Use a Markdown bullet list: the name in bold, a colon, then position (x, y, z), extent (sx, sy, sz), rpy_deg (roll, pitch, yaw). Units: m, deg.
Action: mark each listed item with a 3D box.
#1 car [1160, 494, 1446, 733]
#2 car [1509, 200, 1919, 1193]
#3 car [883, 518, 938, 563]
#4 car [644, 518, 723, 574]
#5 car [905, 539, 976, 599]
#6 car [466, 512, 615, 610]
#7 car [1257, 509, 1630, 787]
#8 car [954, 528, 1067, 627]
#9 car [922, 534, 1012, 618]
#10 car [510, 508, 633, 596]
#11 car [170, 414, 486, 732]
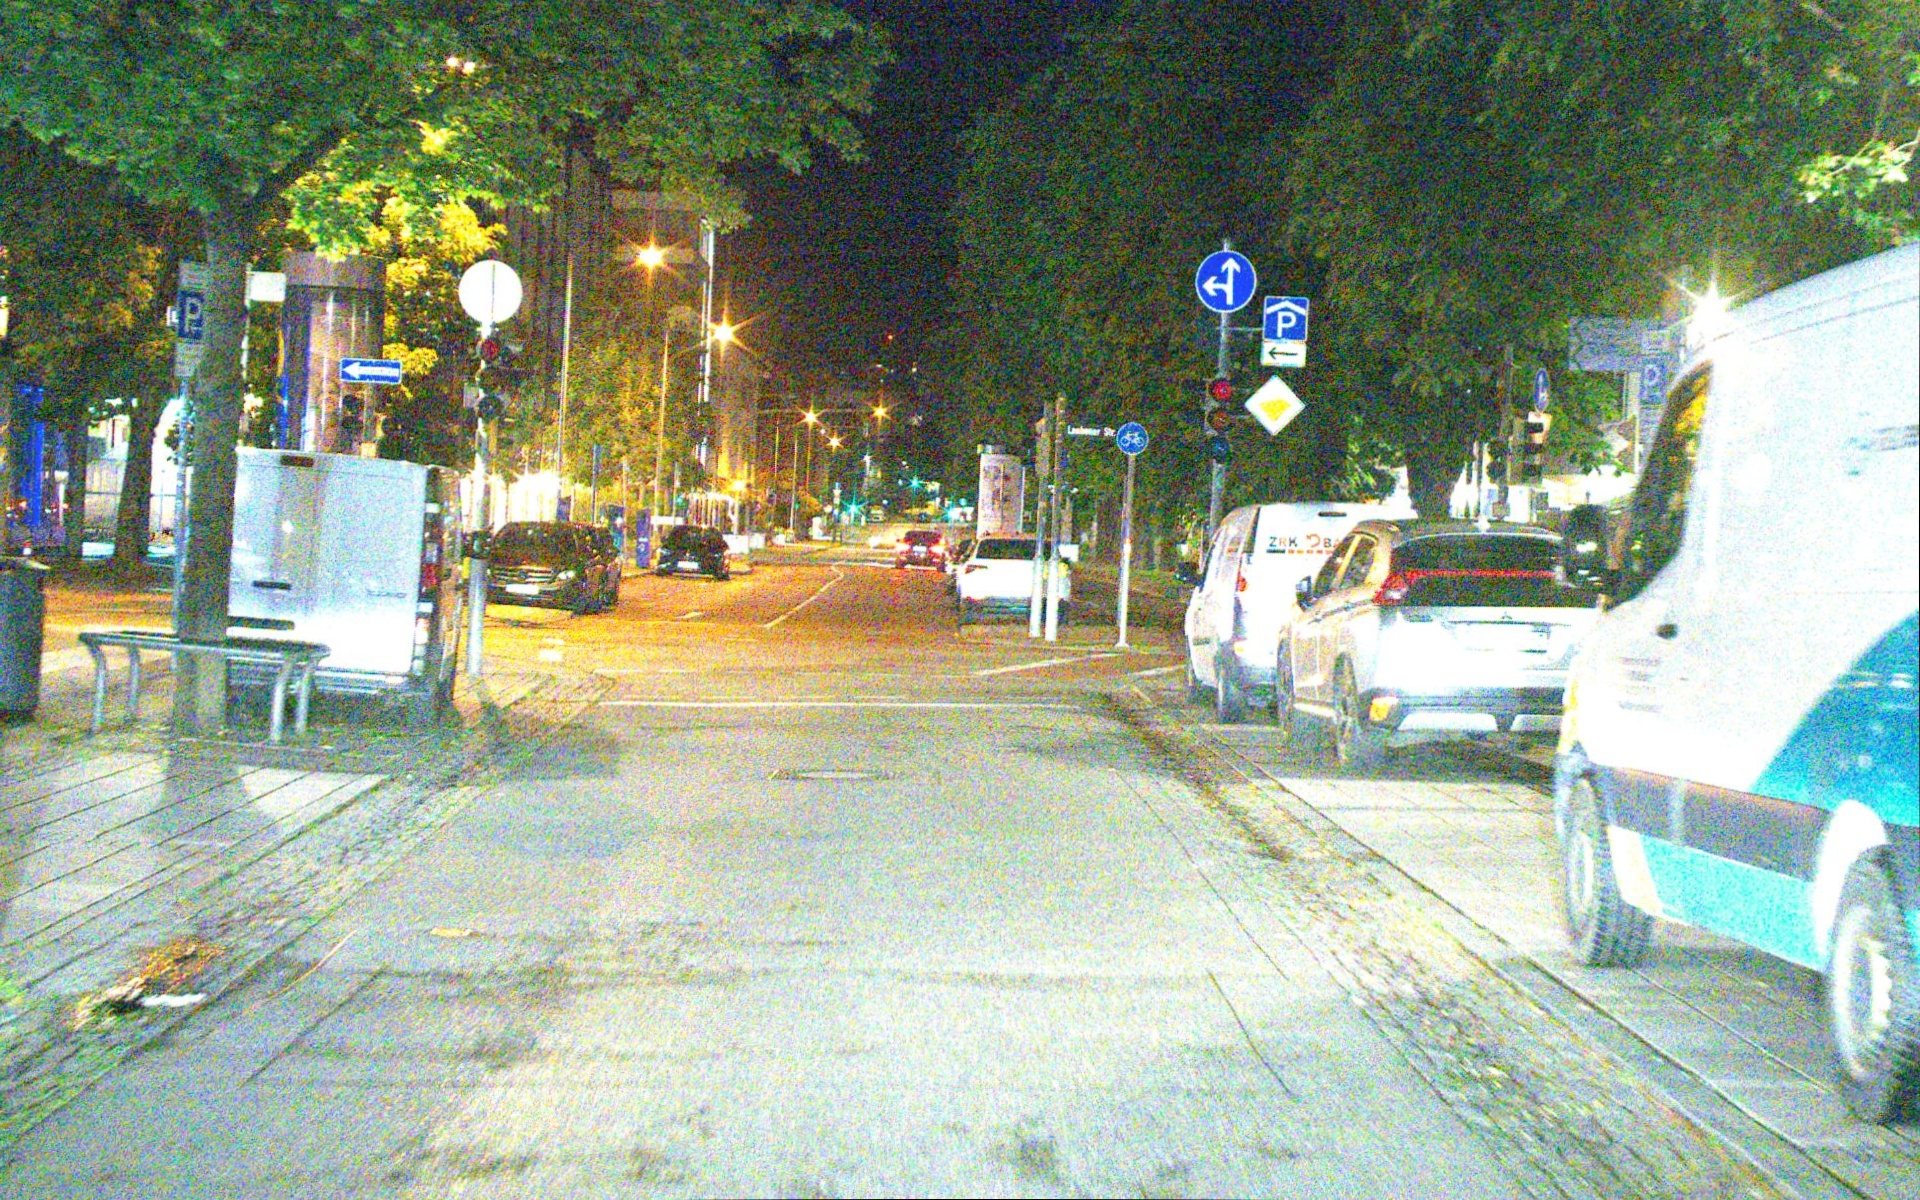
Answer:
- **car**: position (2.825, 0.048, 29.255), extent (1.789, 1.816, 4.580), rpy_deg (2, 1, -2)
- **car**: position (3.255, 0.183, 10.440), extent (2.134, 2.318, 5.152), rpy_deg (2, 1, -2)
- **car**: position (-1.872, -2.264, 130.361), extent (1.993, 1.637, 4.000), rpy_deg (2, 1, -1)
- **car**: position (-7.632, -1.526, 95.248), extent (1.741, 1.408, 4.496), rpy_deg (3, 1, 0)
- **car**: position (-0.488, -0.828, 89.081), extent (1.764, 1.409, 4.808), rpy_deg (2, 1, 0)
- **car**: position (-6.904, -0.680, 57.008), extent (1.806, 1.420, 4.921), rpy_deg (4, 1, -1)
- **car**: position (3.156, 0.242, 23.278), extent (1.684, 1.653, 4.298), rpy_deg (2, 1, -3)
- **car**: position (0.800, -0.402, 56.662), extent (1.770, 1.531, 4.217), rpy_deg (1, 1, 0)
- **car**: position (0.139, -0.510, 70.007), extent (1.689, 1.531, 4.016), rpy_deg (4, 1, 0)
- **car**: position (-7.068, -0.896, 62.886), extent (1.722, 1.423, 3.977), rpy_deg (4, 1, -1)
- **car**: position (-4.737, -0.253, 26.429), extent (1.852, 2.080, 5.092), rpy_deg (4, 1, -6)
